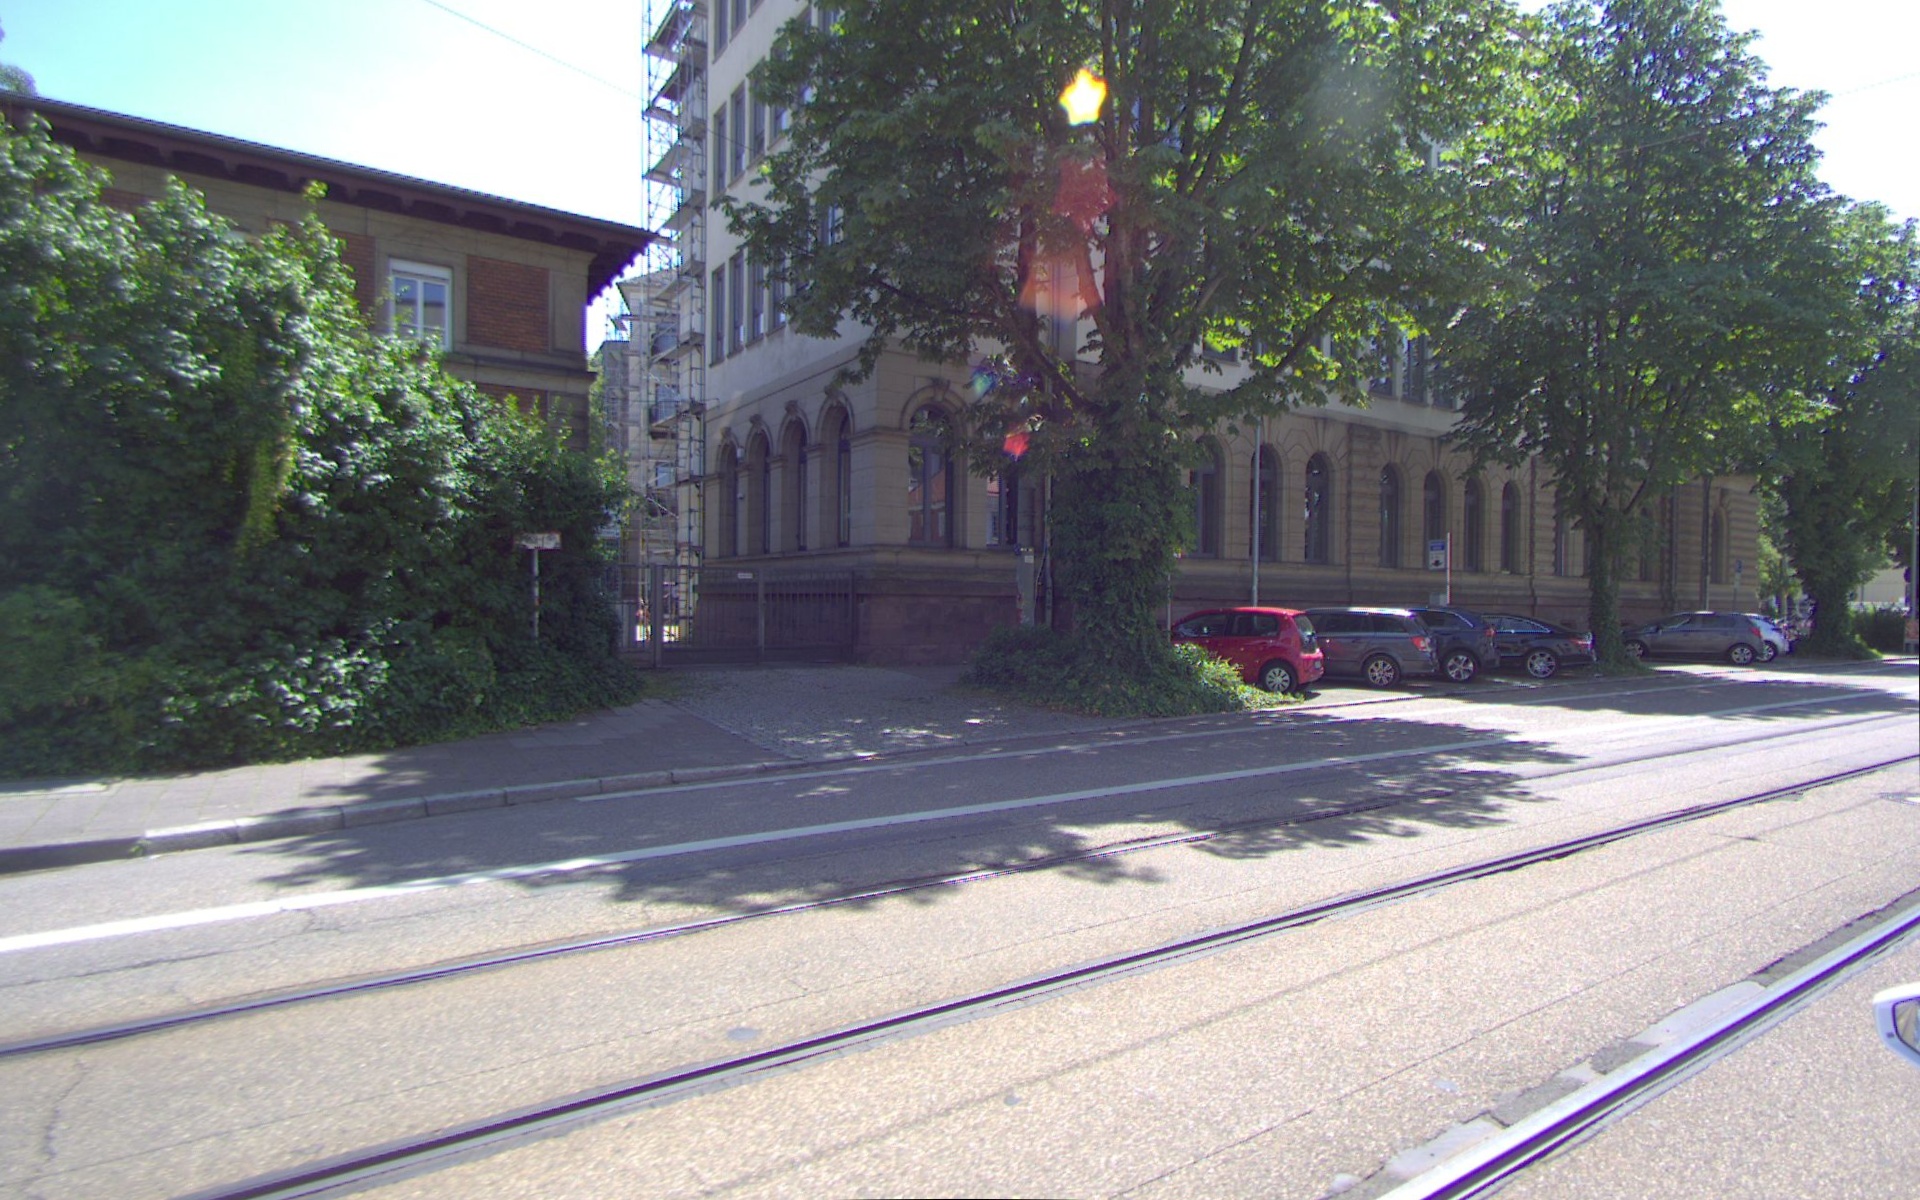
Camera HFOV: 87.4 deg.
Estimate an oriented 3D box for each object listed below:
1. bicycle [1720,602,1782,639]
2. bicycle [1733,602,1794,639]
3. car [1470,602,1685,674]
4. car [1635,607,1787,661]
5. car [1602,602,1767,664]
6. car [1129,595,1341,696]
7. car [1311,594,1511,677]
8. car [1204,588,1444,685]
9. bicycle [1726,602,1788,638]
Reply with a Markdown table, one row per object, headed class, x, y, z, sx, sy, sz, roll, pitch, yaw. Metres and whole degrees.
| class | x | y | z | sx | sy | sz | roll | pitch | yaw |
| --- | --- | --- | --- | --- | --- | --- | --- | --- | --- |
| bicycle | 38.796 | 0.975 | 49.287 | 0.545 | 1.715 | 2.312 | 2 | 0 | -27 |
| bicycle | 39.860 | 0.997 | 49.863 | 0.545 | 1.715 | 2.312 | 2 | 0 | -27 |
| car | 13.430 | 0.777 | 22.054 | 3.865 | 1.392 | 1.665 | 1 | 0 | 31 |
| car | 22.981 | 1.002 | 30.909 | 3.485 | 1.425 | 1.699 | 2 | 1 | 29 |
| car | 20.820 | 0.905 | 29.060 | 3.610 | 1.540 | 1.666 | 3 | 1 | 29 |
| car | 4.921 | 0.753 | 18.038 | 3.293 | 1.536 | 1.666 | 3 | 1 | 31 |
| car | 9.661 | 0.699 | 21.595 | 3.748 | 1.598 | 1.791 | 1 | 0 | 28 |
| car | 7.216 | 0.654 | 20.005 | 4.243 | 1.606 | 1.667 | 3 | 1 | 28 |
| bicycle | 39.320 | 0.973 | 49.595 | 0.545 | 1.715 | 2.312 | 2 | 0 | -27 |
